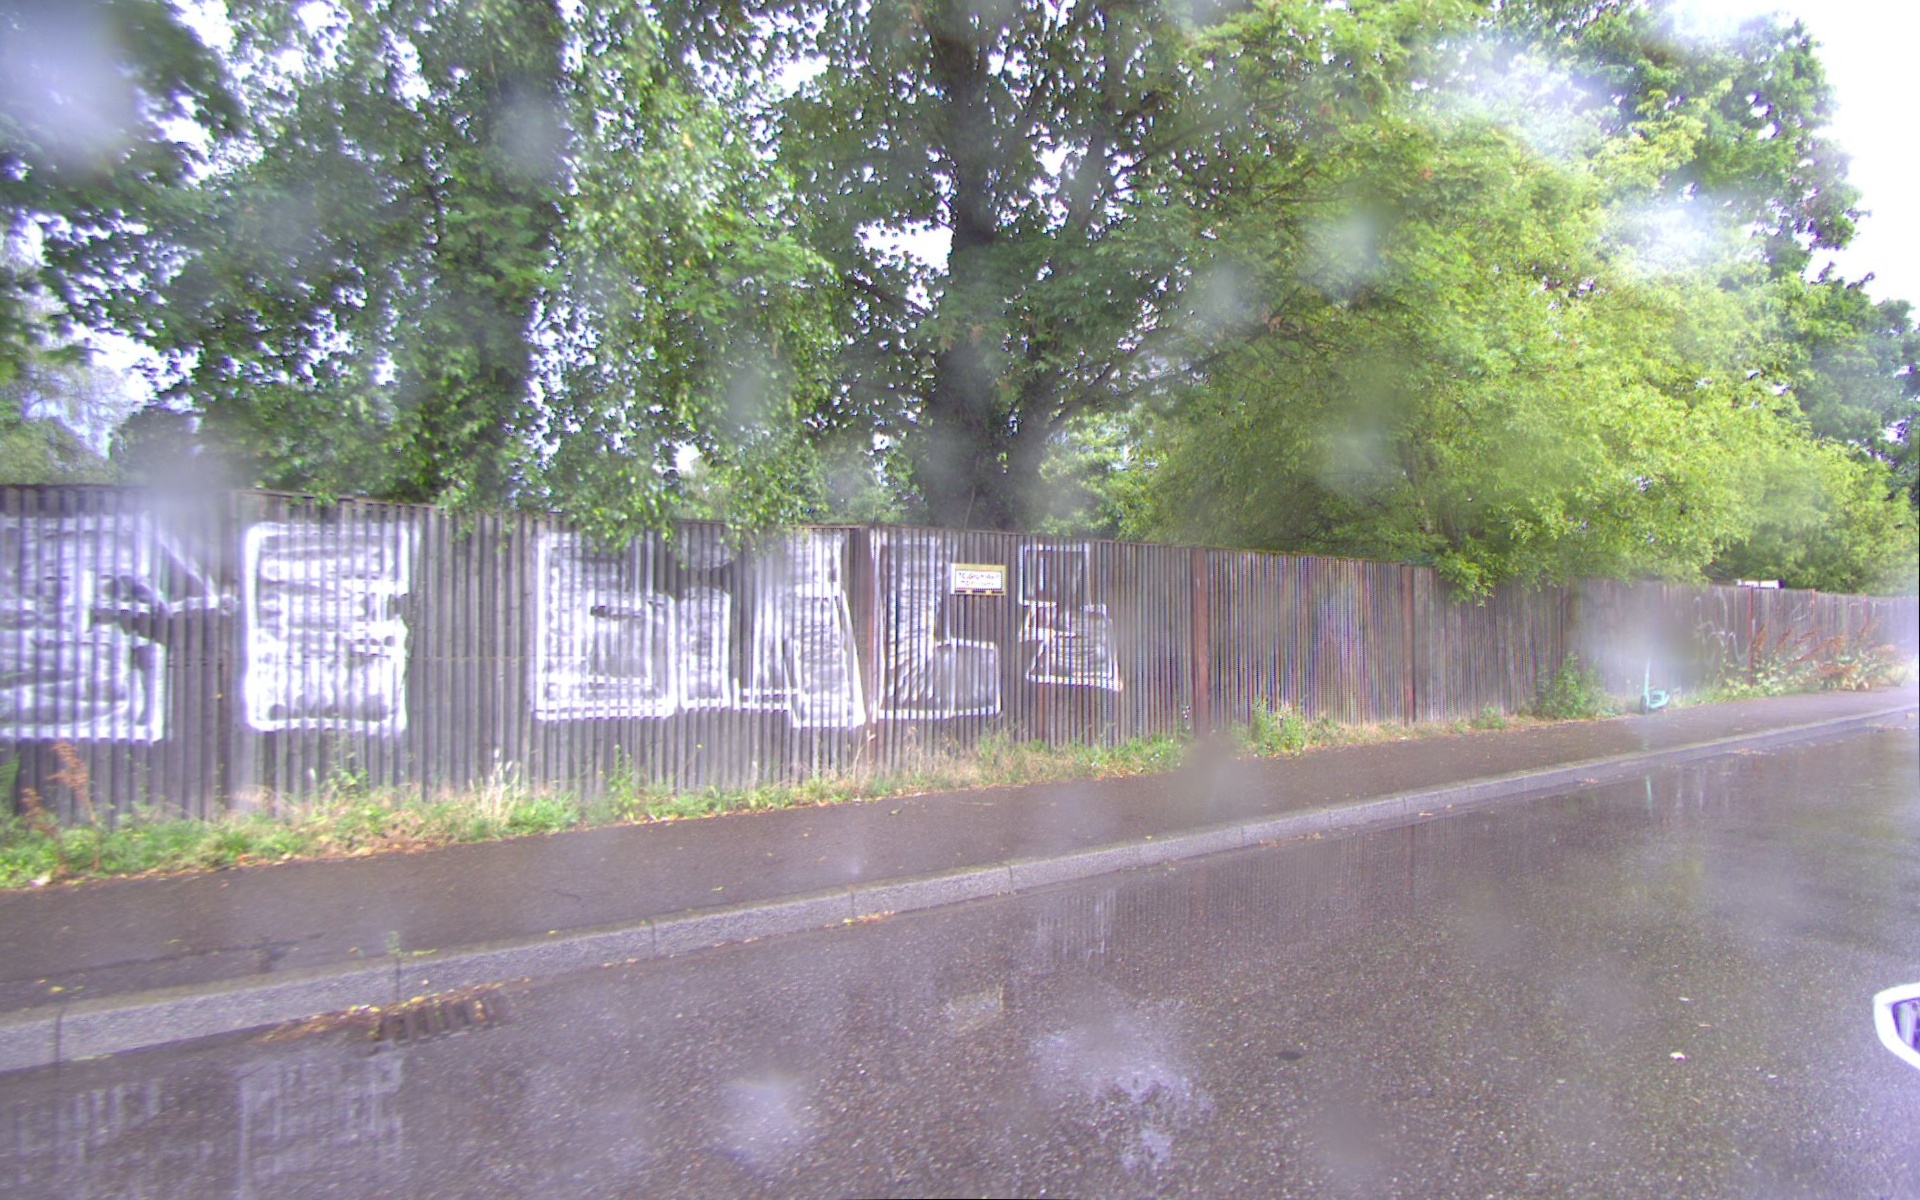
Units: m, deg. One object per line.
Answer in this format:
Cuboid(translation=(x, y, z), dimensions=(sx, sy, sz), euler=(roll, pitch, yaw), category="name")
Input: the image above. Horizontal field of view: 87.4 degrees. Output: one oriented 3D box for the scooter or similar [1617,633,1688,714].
Cuboid(translation=(10.516, 1.093, 15.252), dimensions=(1.197, 1.178, 0.558), euler=(1, -1, -38), category="scooter or similar")
